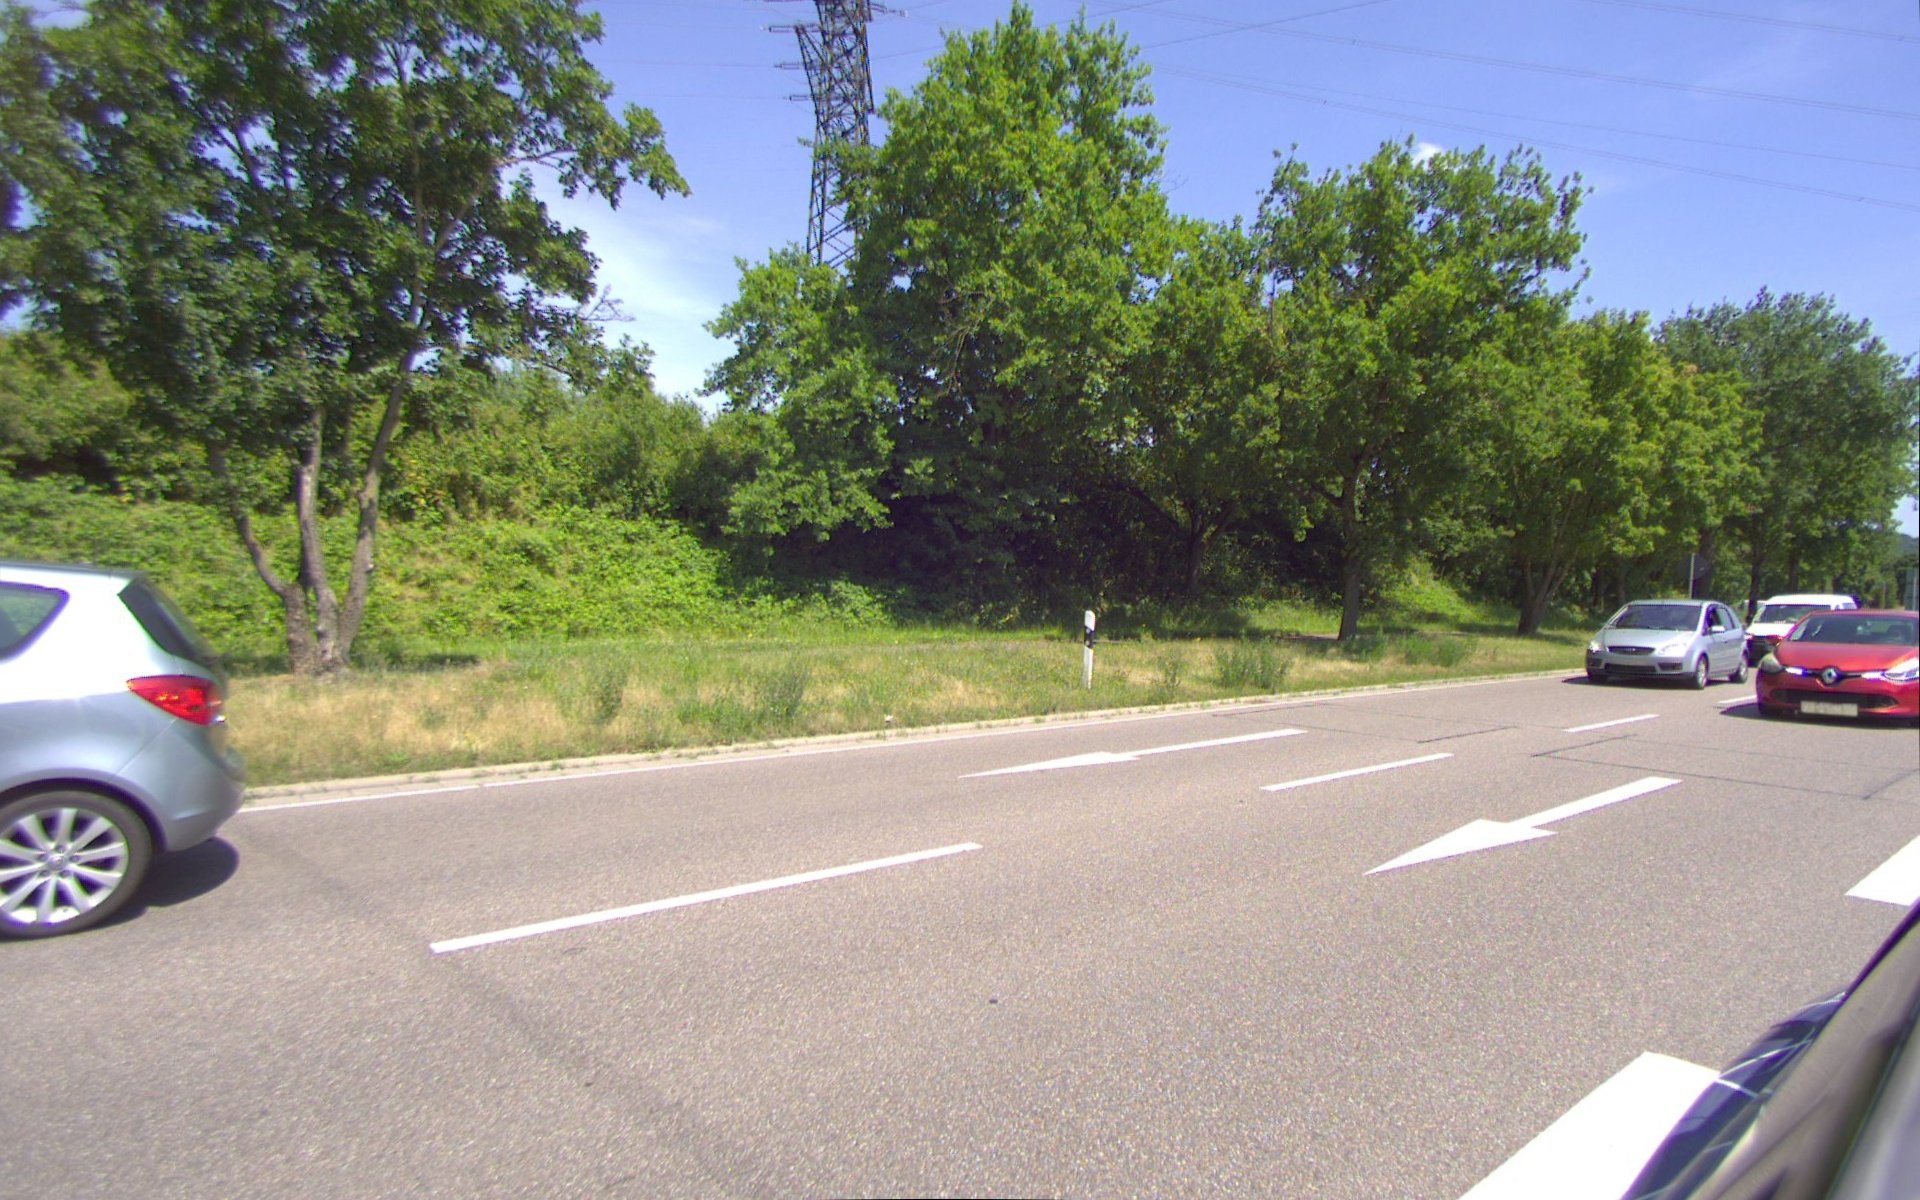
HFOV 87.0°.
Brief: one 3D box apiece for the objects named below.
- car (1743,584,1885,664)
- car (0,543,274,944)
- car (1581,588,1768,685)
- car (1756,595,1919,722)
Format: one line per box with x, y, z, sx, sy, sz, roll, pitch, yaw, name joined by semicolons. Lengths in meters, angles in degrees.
21.406;0.559;25.301;4.946;1.823;1.809;0;0;-39;car
-5.293;0.549;4.066;4.089;1.615;1.769;0;1;-38;car
13.344;0.612;18.821;4.194;1.614;1.747;0;0;-38;car
12.338;0.695;13.613;3.992;1.480;1.746;0;0;-39;car
